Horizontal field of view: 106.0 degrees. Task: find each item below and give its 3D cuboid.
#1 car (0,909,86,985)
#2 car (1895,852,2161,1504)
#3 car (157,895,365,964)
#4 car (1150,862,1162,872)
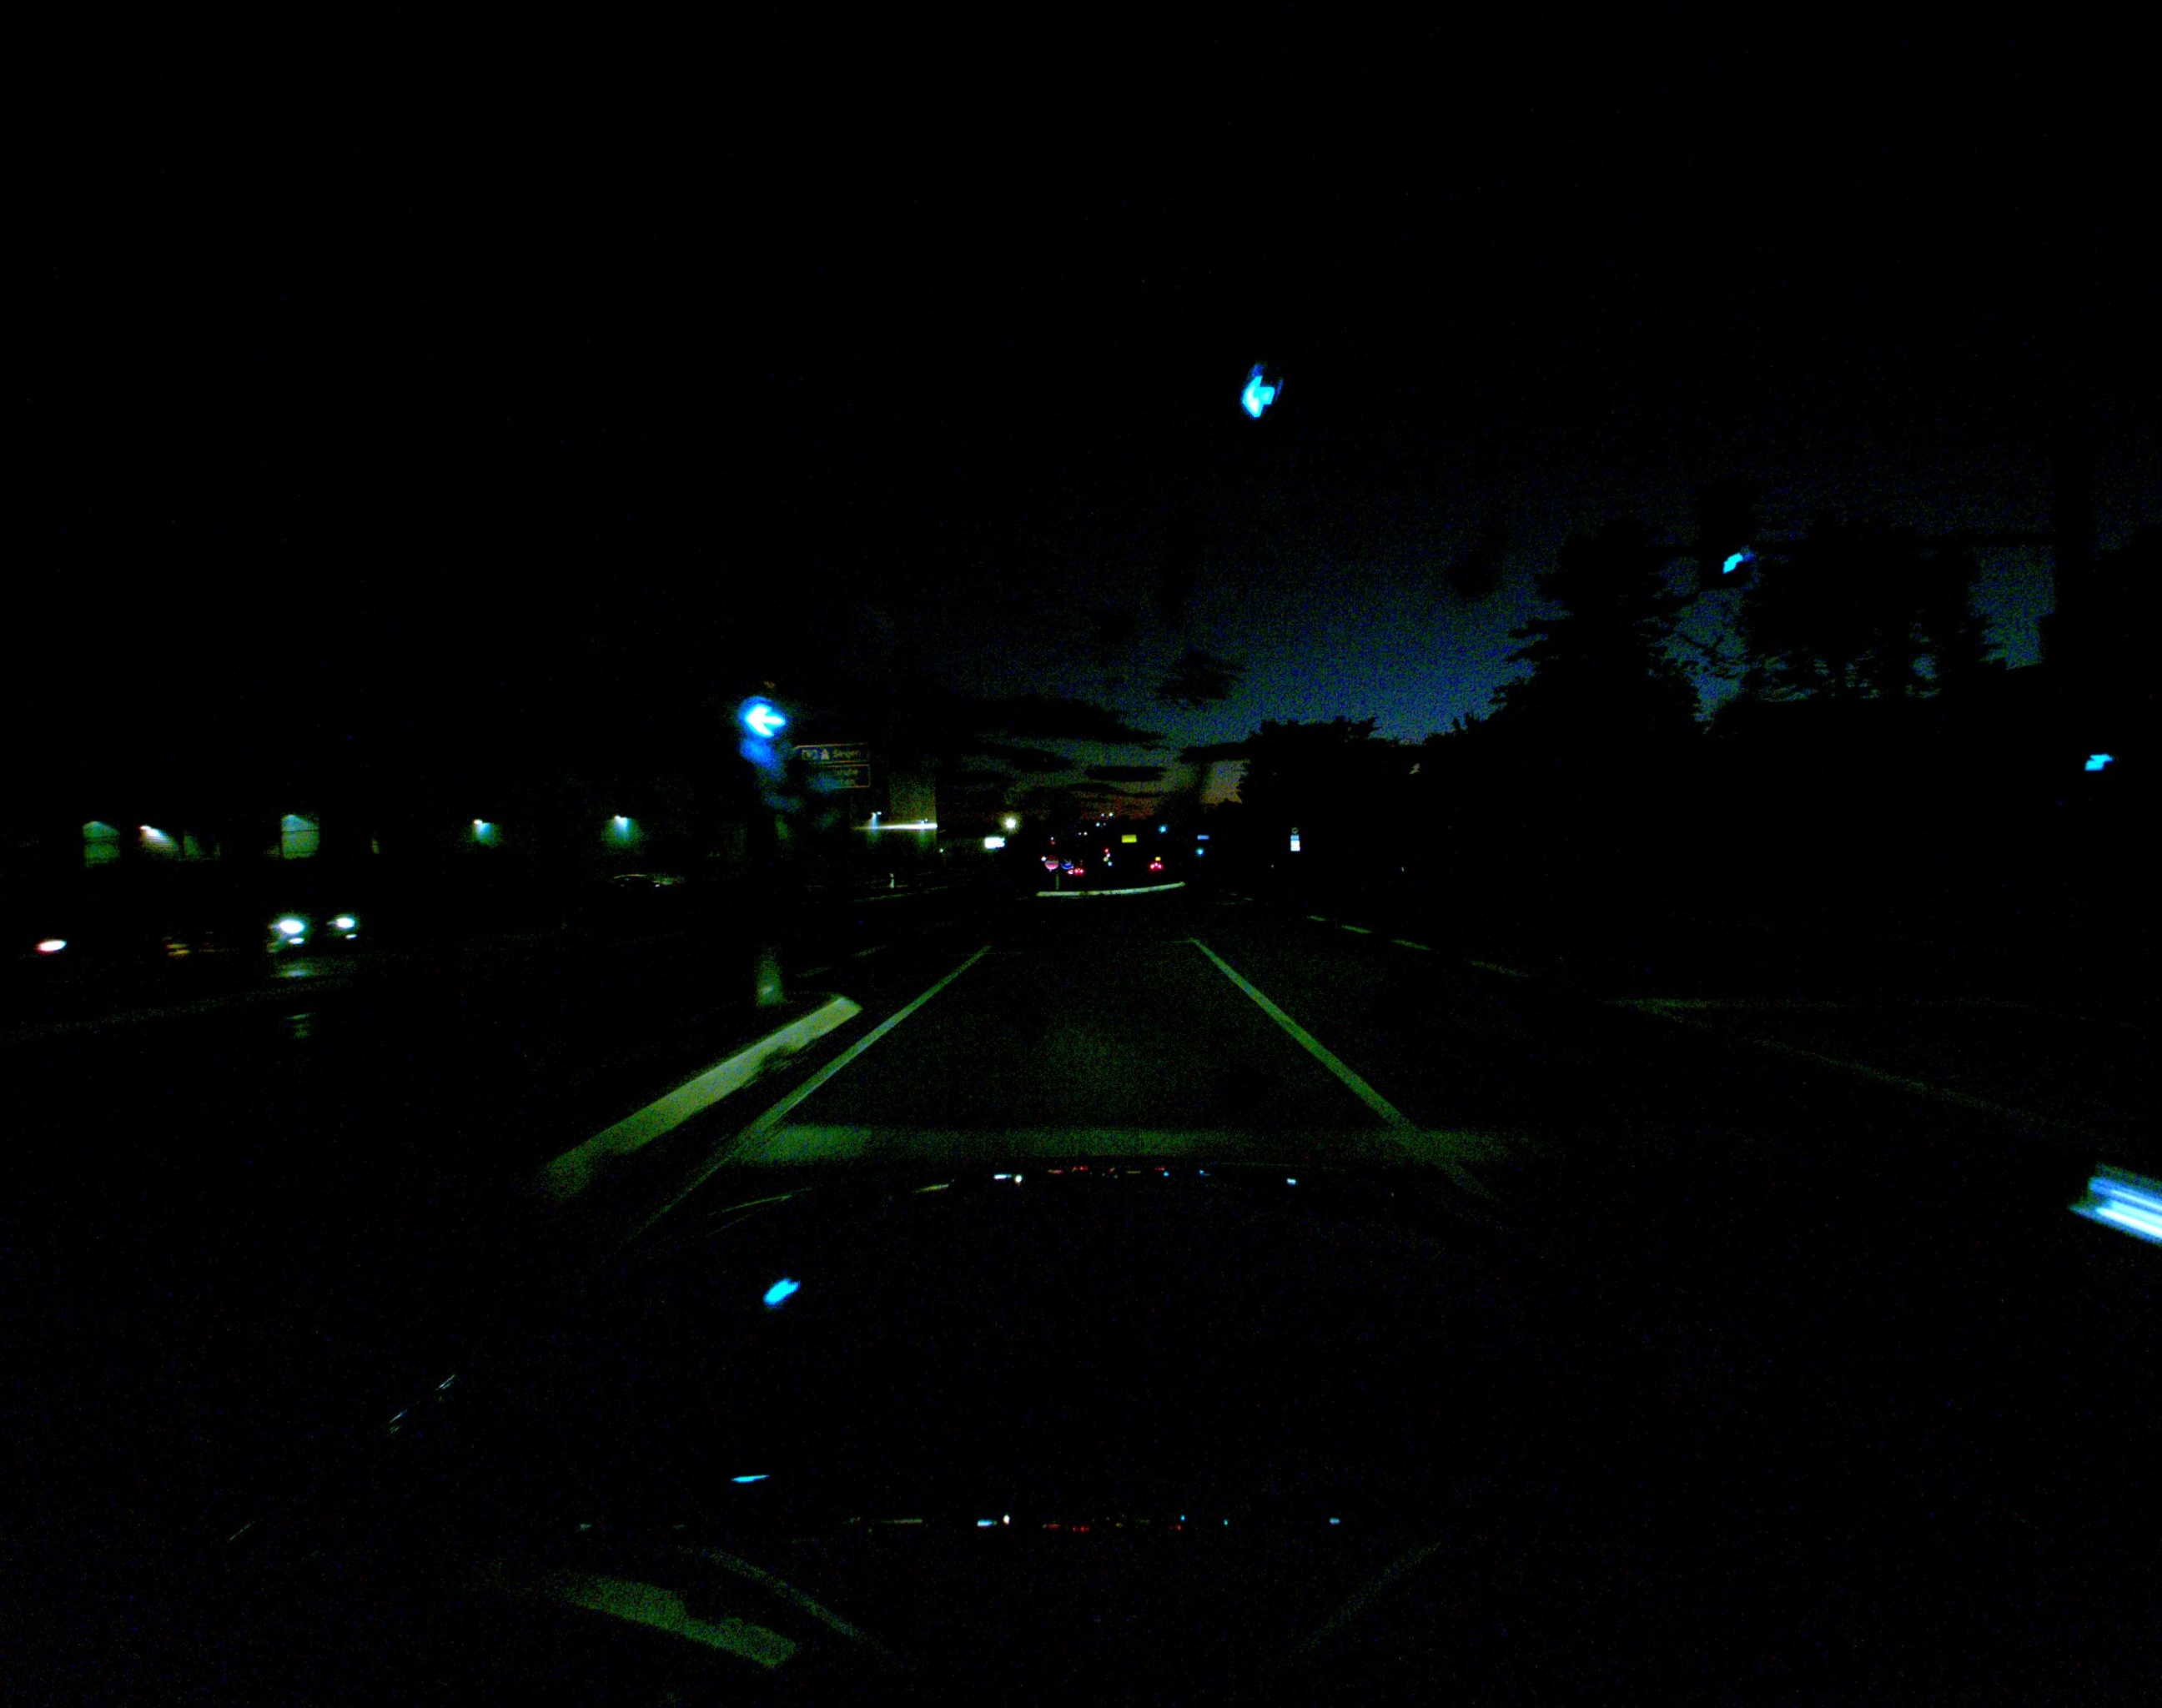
[{"bbox_3d":[-23.661,1.989,17.056,3.964,1.460,1.764,-2,-1,8],"label":"car"},{"bbox_3d":[3.281,0.734,0.336,1.752,1.459,4.193,-1,0,1],"label":"car"},{"bbox_3d":[-20.977,1.908,20.920,3.837,1.474,1.708,-3,-1,7],"label":"car"},{"bbox_3d":[13.461,2.330,146.315,1.928,1.646,4.001,-2,0,1],"label":"car"}]
